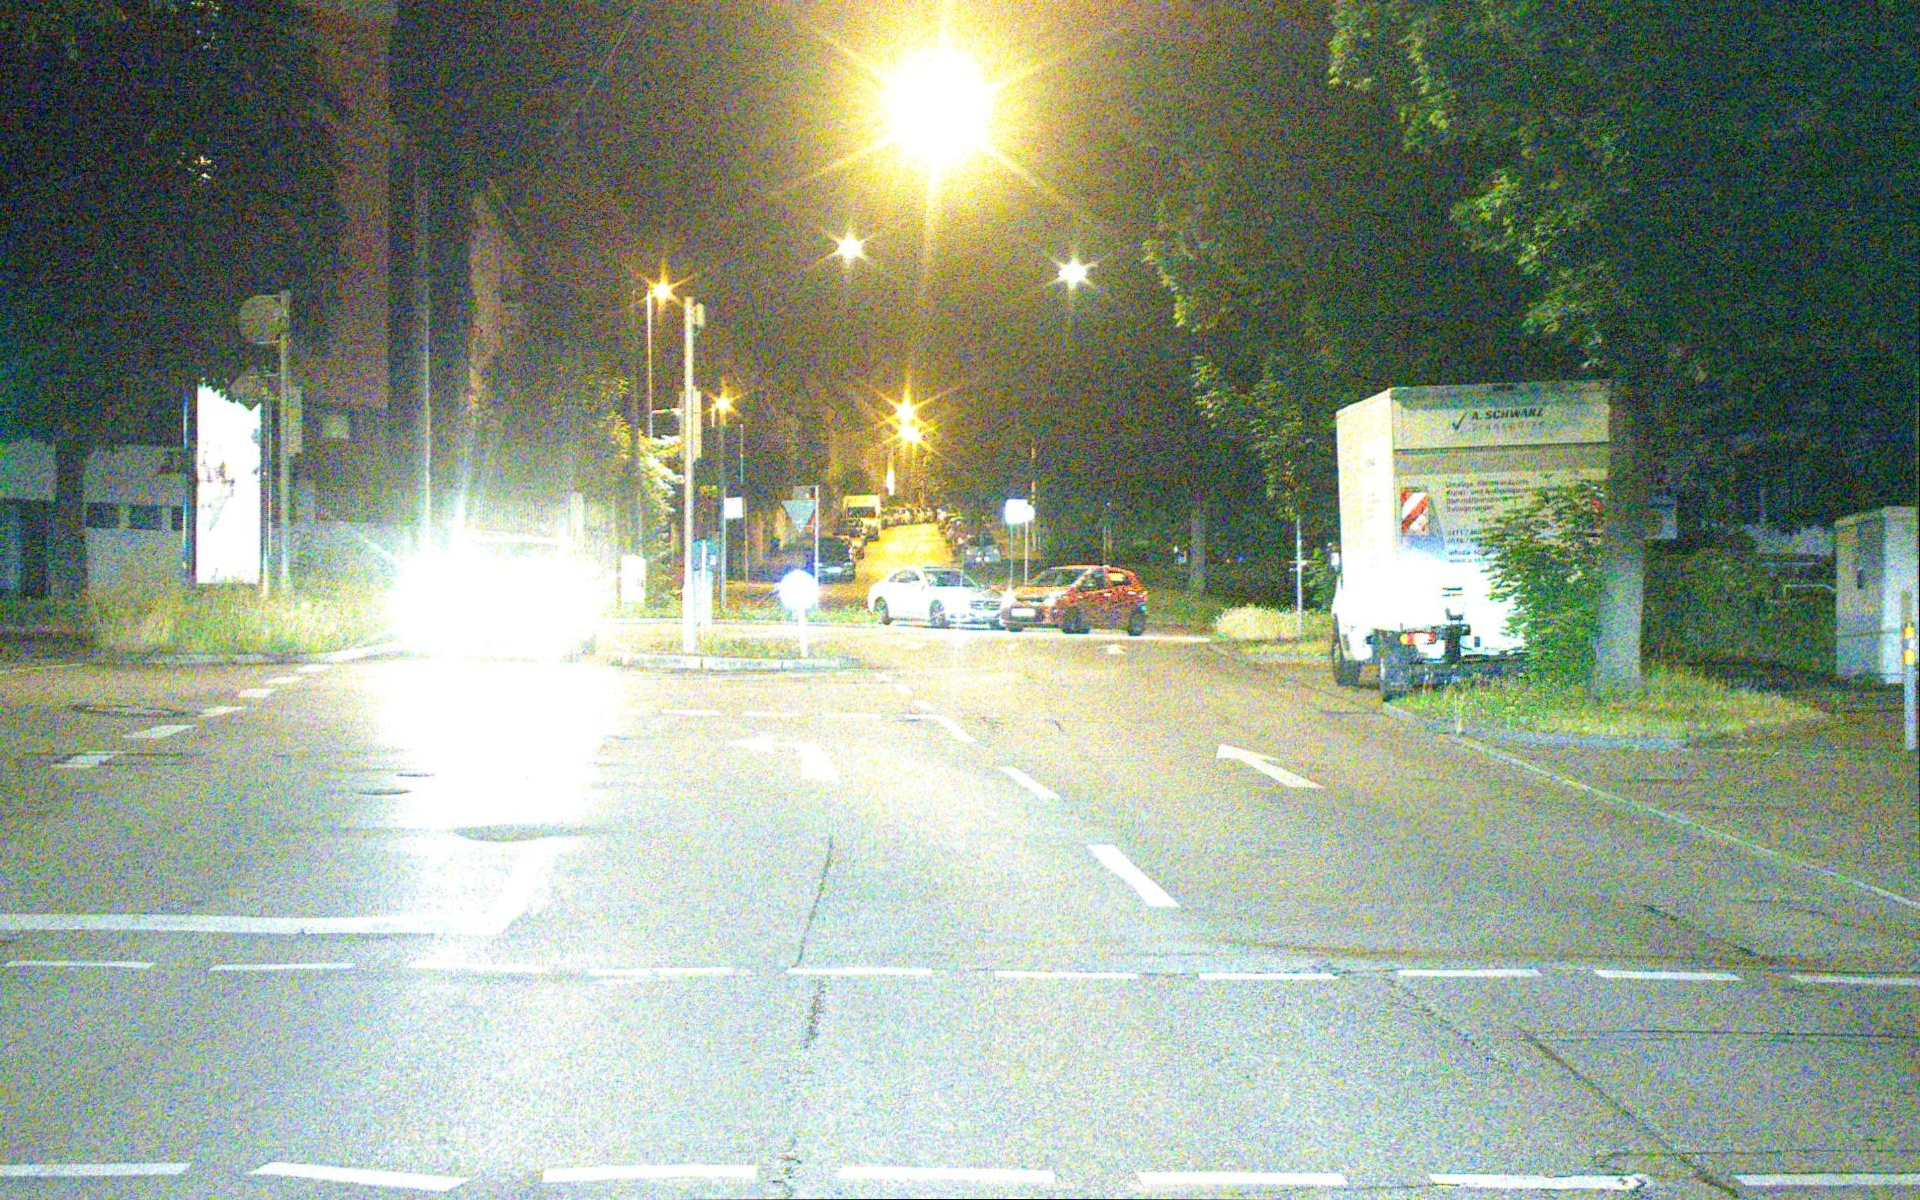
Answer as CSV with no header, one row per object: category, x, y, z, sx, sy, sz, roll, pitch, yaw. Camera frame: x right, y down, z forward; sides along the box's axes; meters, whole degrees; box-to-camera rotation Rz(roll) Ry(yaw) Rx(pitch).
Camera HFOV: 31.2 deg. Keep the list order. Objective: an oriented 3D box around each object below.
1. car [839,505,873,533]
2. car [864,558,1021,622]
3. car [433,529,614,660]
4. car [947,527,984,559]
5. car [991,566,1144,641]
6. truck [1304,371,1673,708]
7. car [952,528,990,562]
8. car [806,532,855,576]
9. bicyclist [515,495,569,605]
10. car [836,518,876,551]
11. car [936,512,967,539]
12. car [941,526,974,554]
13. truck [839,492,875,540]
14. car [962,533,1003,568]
car,-5.703,-4.400,187.657,1.815,1.486,4.001,1,1,-2
car,-0.461,-0.252,81.550,1.916,1.384,4.584,0,1,-26
car,-5.413,-0.106,43.039,1.857,1.529,4.028,1,1,-2
car,0.257,-2.645,159.974,1.634,1.447,3.485,1,1,-1
car,2.282,0.059,72.438,1.585,1.496,3.389,1,1,36
truck,5.242,-0.622,35.201,2.749,3.100,6.258,1,1,0
car,0.497,-2.465,153.792,1.634,1.447,3.485,1,1,-1
car,-5.069,-1.826,135.223,1.815,1.678,4.000,1,1,-1
bicyclist,-6.318,-0.754,51.978,0.690,1.631,0.896,1,0,-1
car,-4.886,-3.073,161.262,1.815,1.486,4.001,1,1,-2
car,-0.478,-4.158,192.171,1.634,1.447,3.485,1,1,-1
car,-0.124,-3.122,179.213,1.634,1.447,3.485,1,1,-1
truck,-6.336,-5.135,210.268,2.086,2.838,5.832,1,1,-2
car,0.941,-2.081,144.060,1.634,1.447,3.485,1,1,-1
